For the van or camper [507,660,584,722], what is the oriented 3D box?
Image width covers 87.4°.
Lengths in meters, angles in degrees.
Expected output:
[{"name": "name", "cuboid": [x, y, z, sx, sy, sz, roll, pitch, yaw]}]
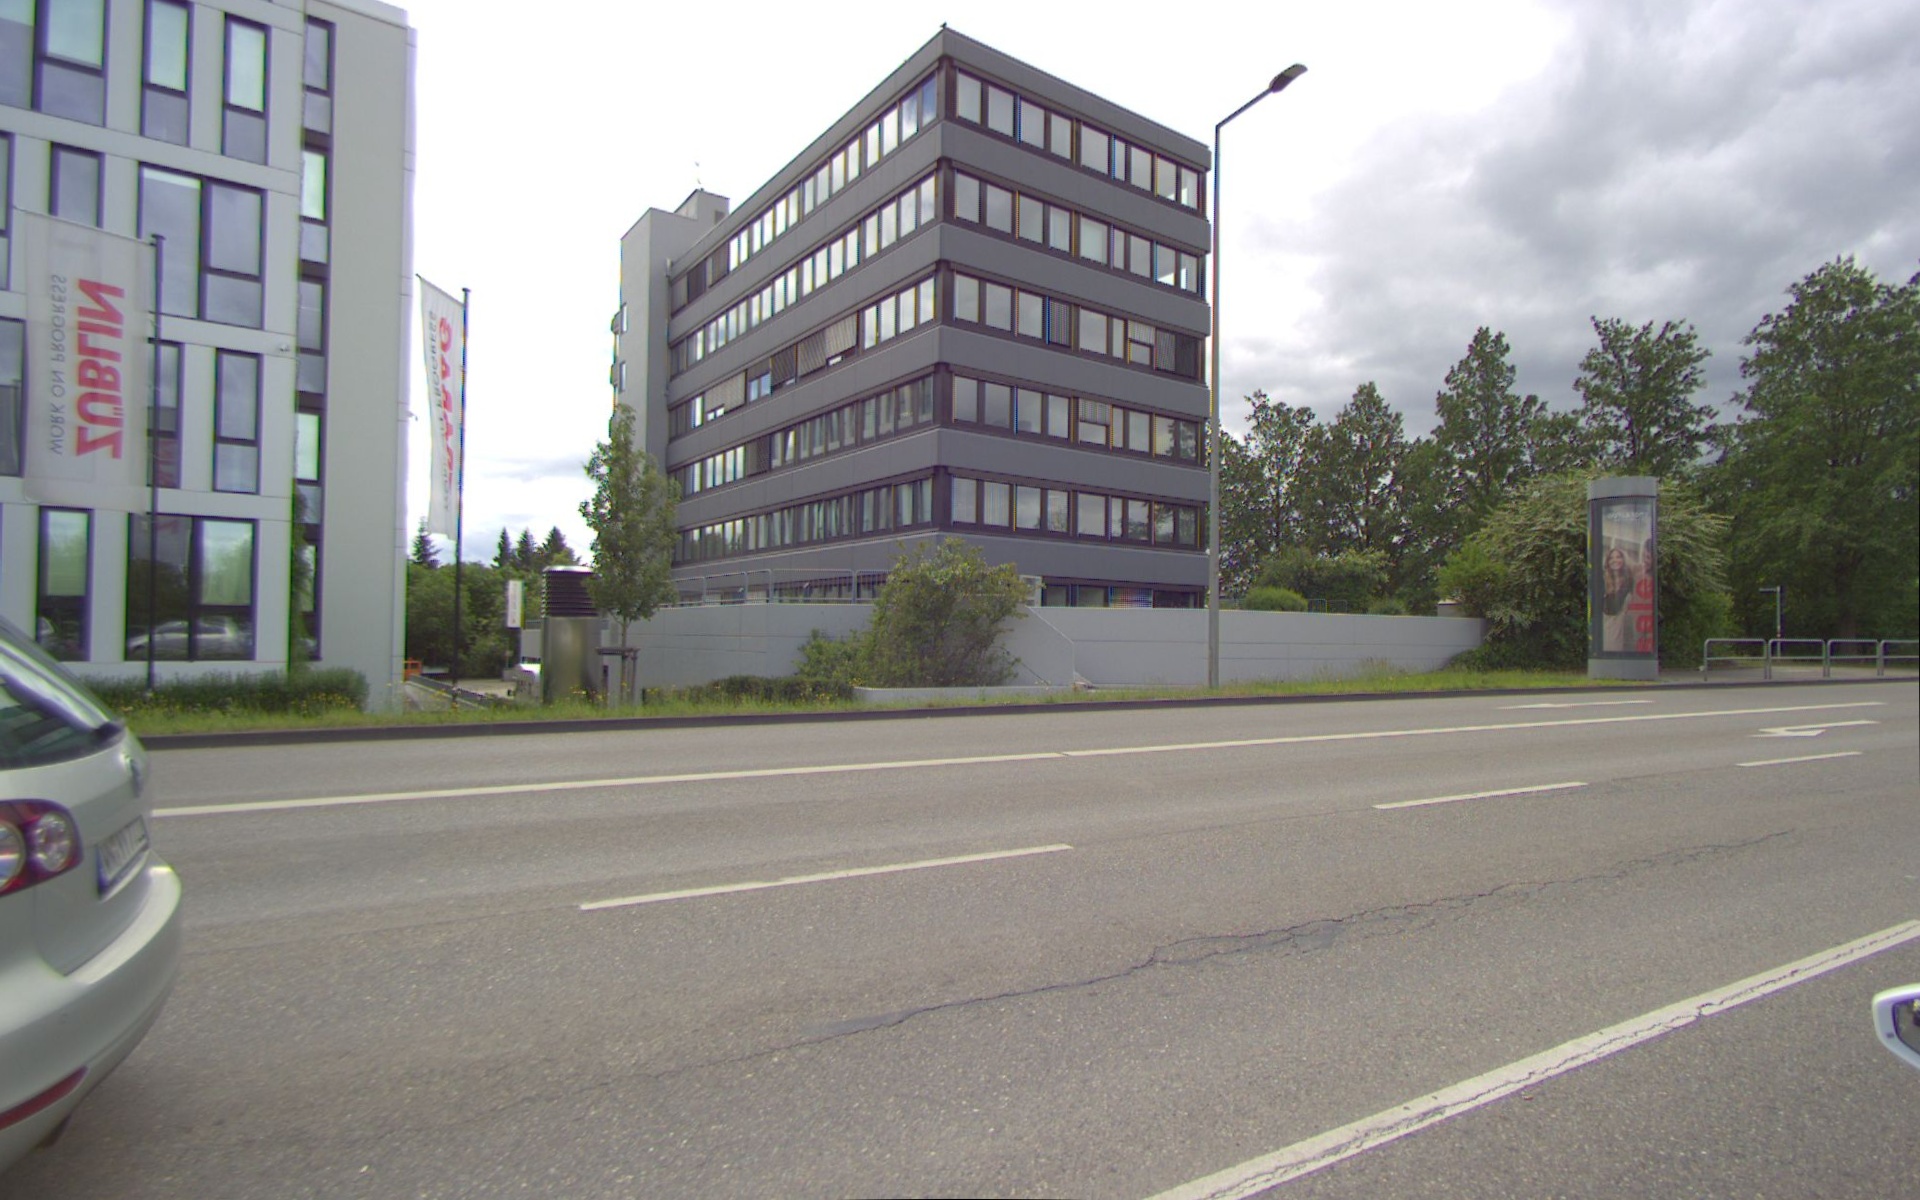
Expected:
[{"name": "van or camper", "cuboid": [-20.345, 4.335, 49.083, 2.435, 2.398, 7.065, 1, 0, -31]}]

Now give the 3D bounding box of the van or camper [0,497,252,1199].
[{"name": "van or camper", "cuboid": [-3.769, 0.586, 1.717, 3.998, 1.631, 1.735, 1, 0, -31]}]

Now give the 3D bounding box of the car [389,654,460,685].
[{"name": "car", "cuboid": [-49.409, 6.400, 92.712, 5.553, 2.678, 1.950, 2, 0, -34]}]
